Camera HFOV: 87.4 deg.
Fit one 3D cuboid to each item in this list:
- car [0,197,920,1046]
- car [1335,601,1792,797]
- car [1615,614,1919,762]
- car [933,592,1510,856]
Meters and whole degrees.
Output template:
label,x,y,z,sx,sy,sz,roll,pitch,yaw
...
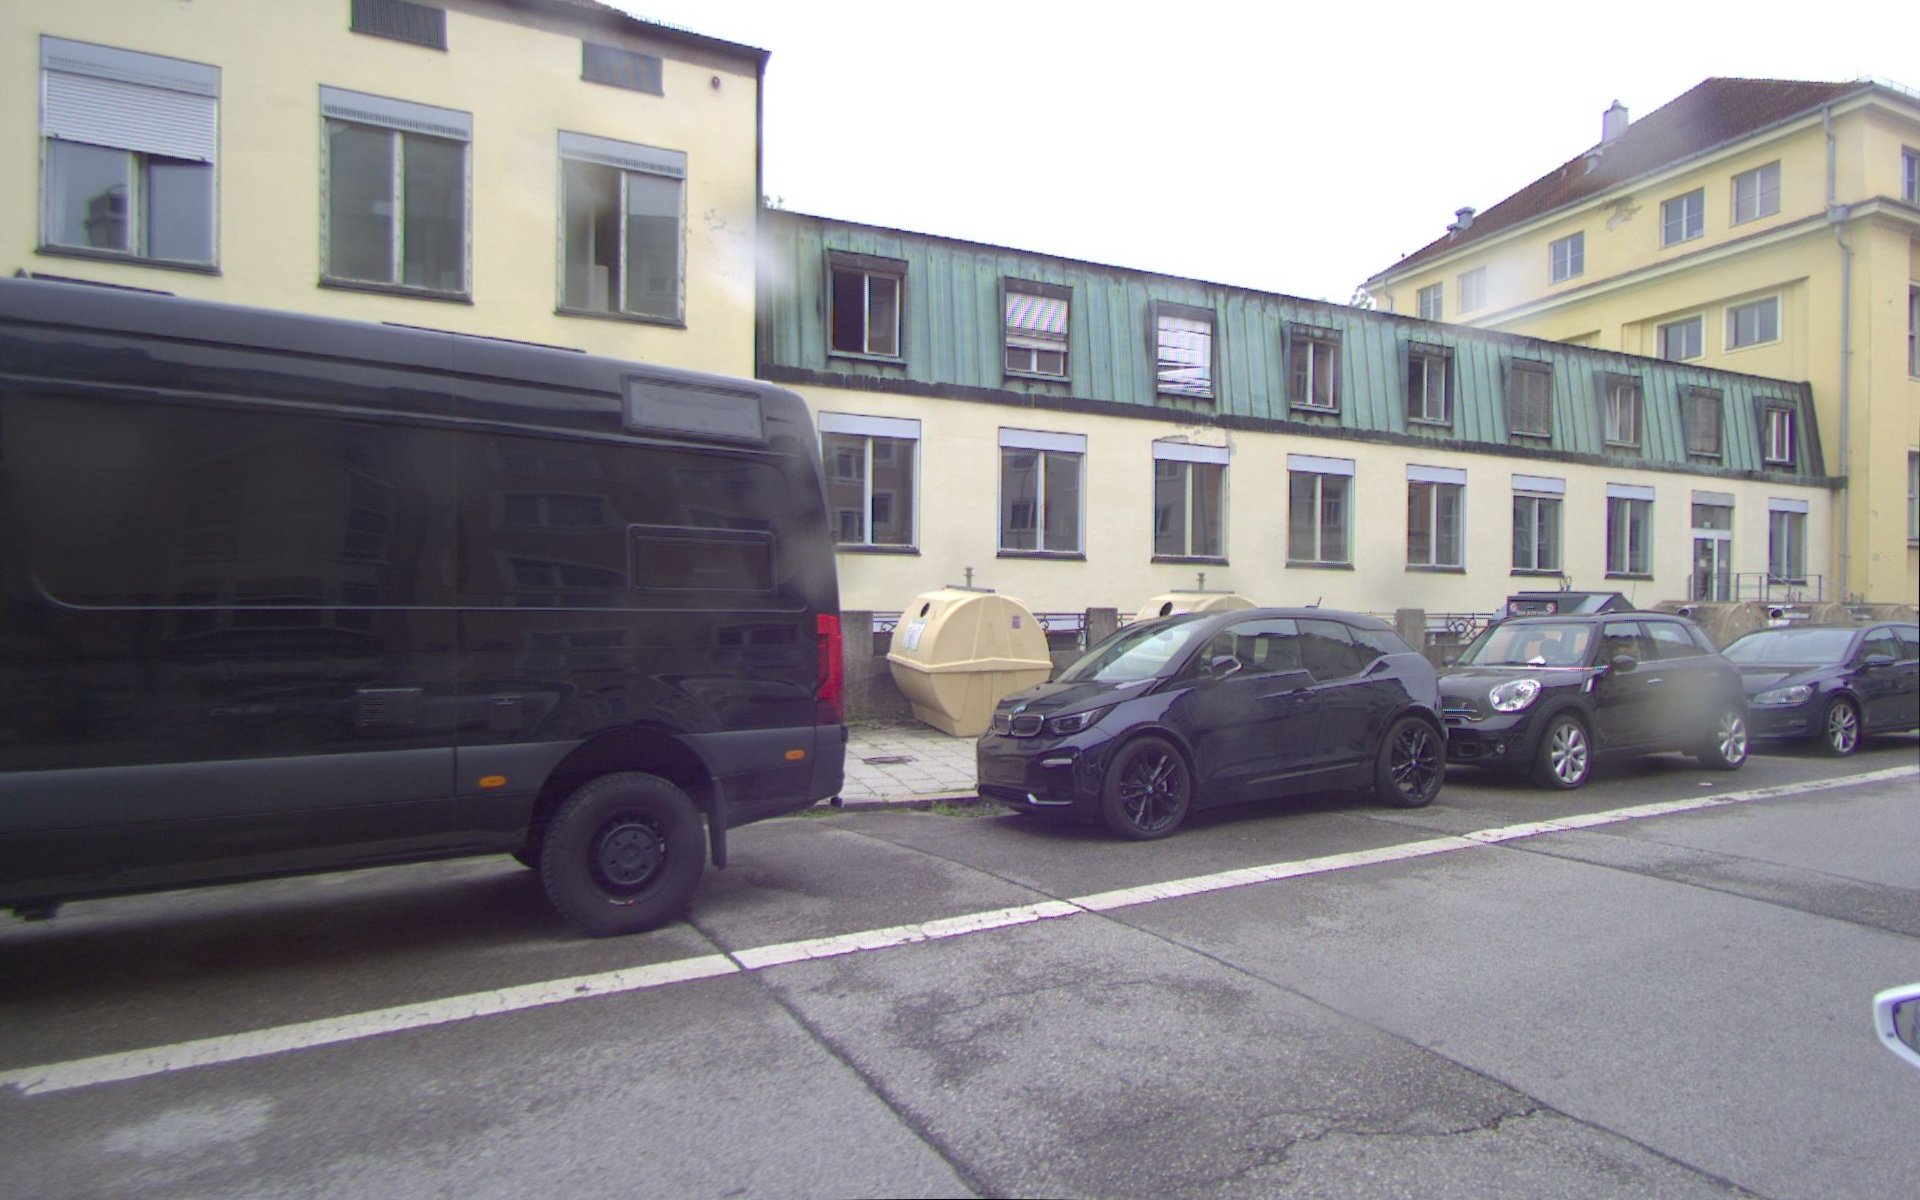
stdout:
label,x,y,z,sx,sy,sz,roll,pitch,yaw
car,-3.390,0.119,4.637,6.127,2.891,2.202,1,-3,-32
car,6.092,0.891,10.116,4.295,1.608,1.908,0,-4,-27
car,10.344,0.969,12.117,4.467,1.501,1.910,0,-3,-24
car,2.124,0.842,8.103,4.291,1.657,1.875,0,-3,-26
